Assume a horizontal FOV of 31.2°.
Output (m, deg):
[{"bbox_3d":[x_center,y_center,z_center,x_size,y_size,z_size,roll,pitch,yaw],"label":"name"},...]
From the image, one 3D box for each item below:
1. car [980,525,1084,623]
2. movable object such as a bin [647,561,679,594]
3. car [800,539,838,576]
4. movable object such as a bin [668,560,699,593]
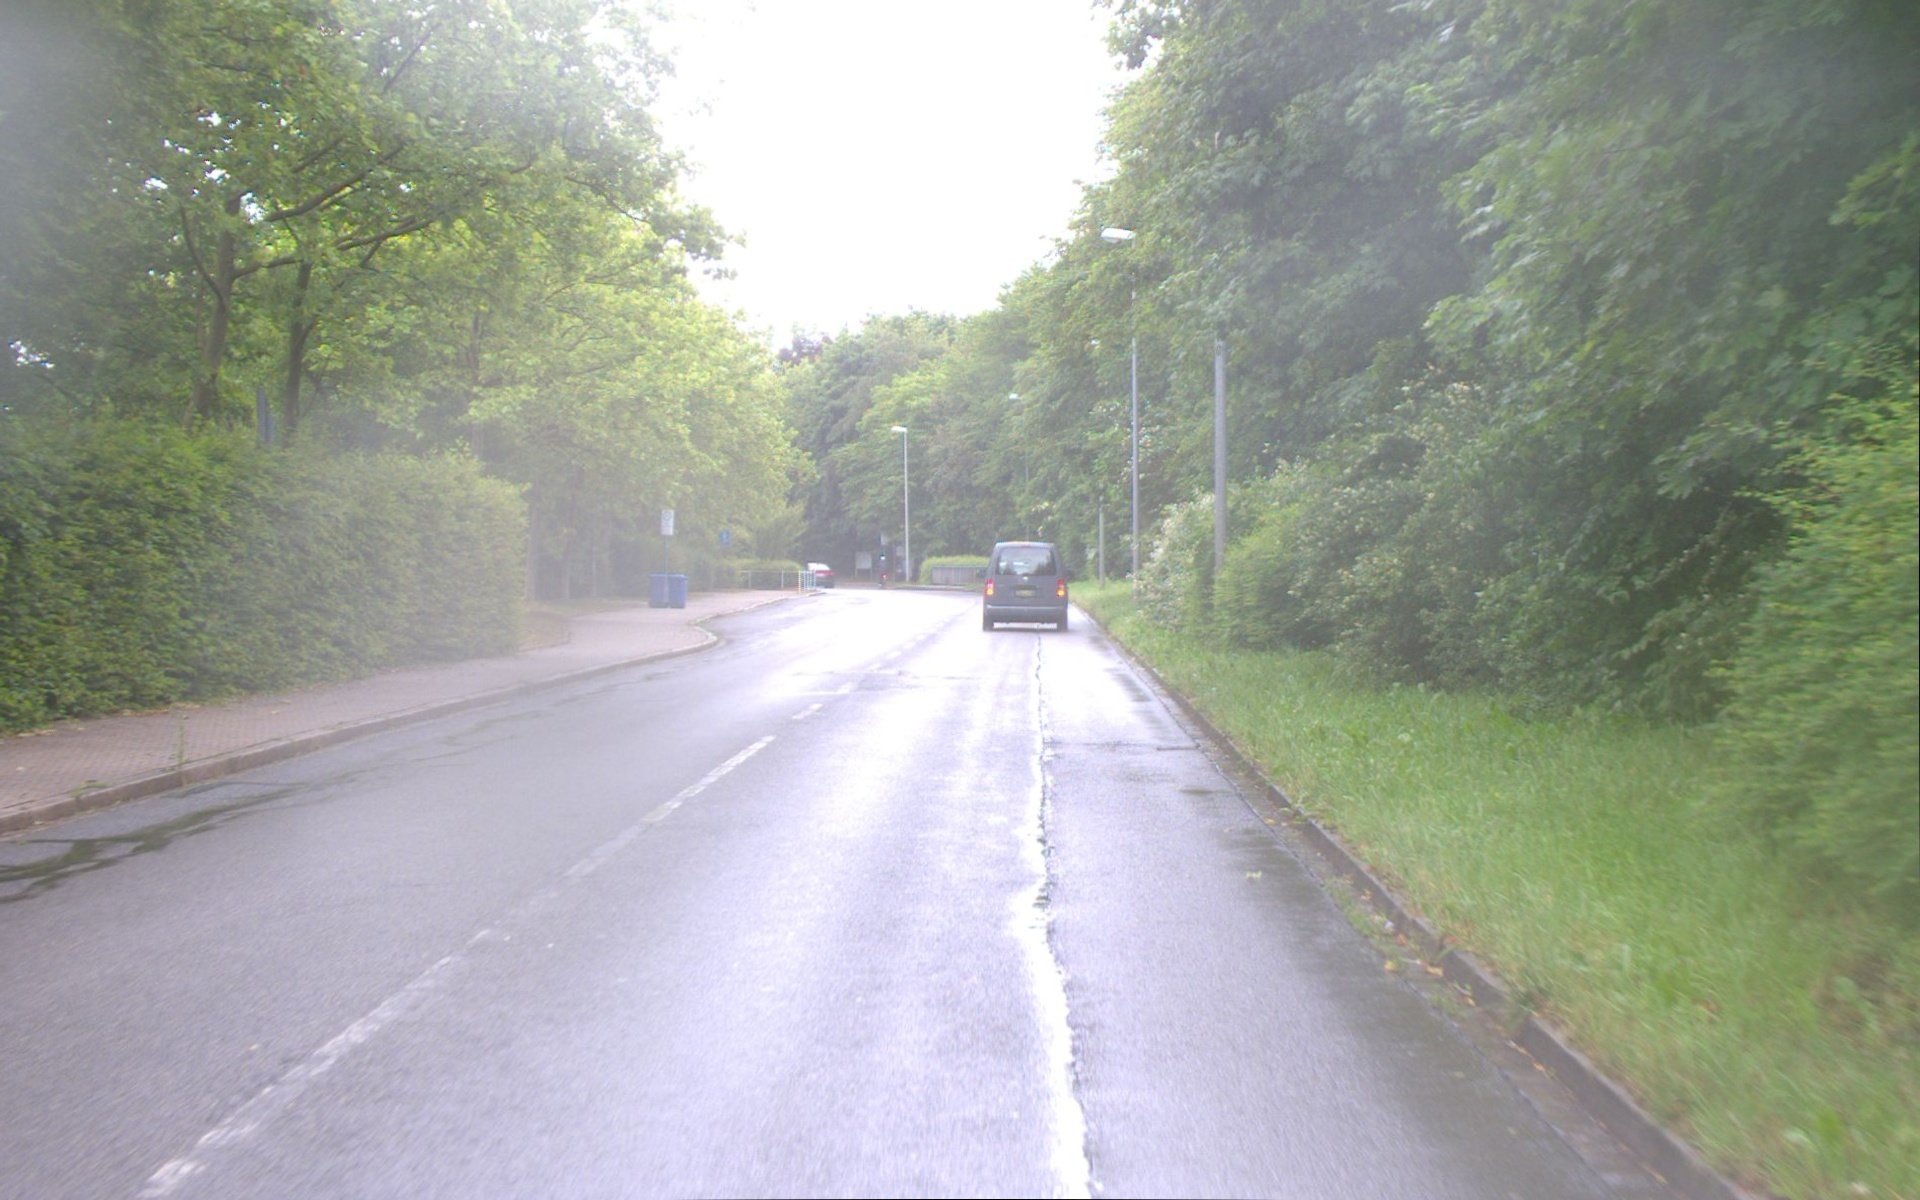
[{"bbox_3d":[1.495,-0.570,71.111,1.993,1.787,4.000,3,2,1],"label":"car"},{"bbox_3d":[-9.479,-0.727,109.690,0.666,1.023,0.835,-3,1,-30],"label":"movable object such as a bin"},{"bbox_3d":[-8.105,-2.451,197.927,1.993,2.007,4.000,2,1,-1],"label":"car"},{"bbox_3d":[-8.855,-0.739,110.064,0.666,1.023,0.835,-3,1,-30],"label":"movable object such as a bin"}]
